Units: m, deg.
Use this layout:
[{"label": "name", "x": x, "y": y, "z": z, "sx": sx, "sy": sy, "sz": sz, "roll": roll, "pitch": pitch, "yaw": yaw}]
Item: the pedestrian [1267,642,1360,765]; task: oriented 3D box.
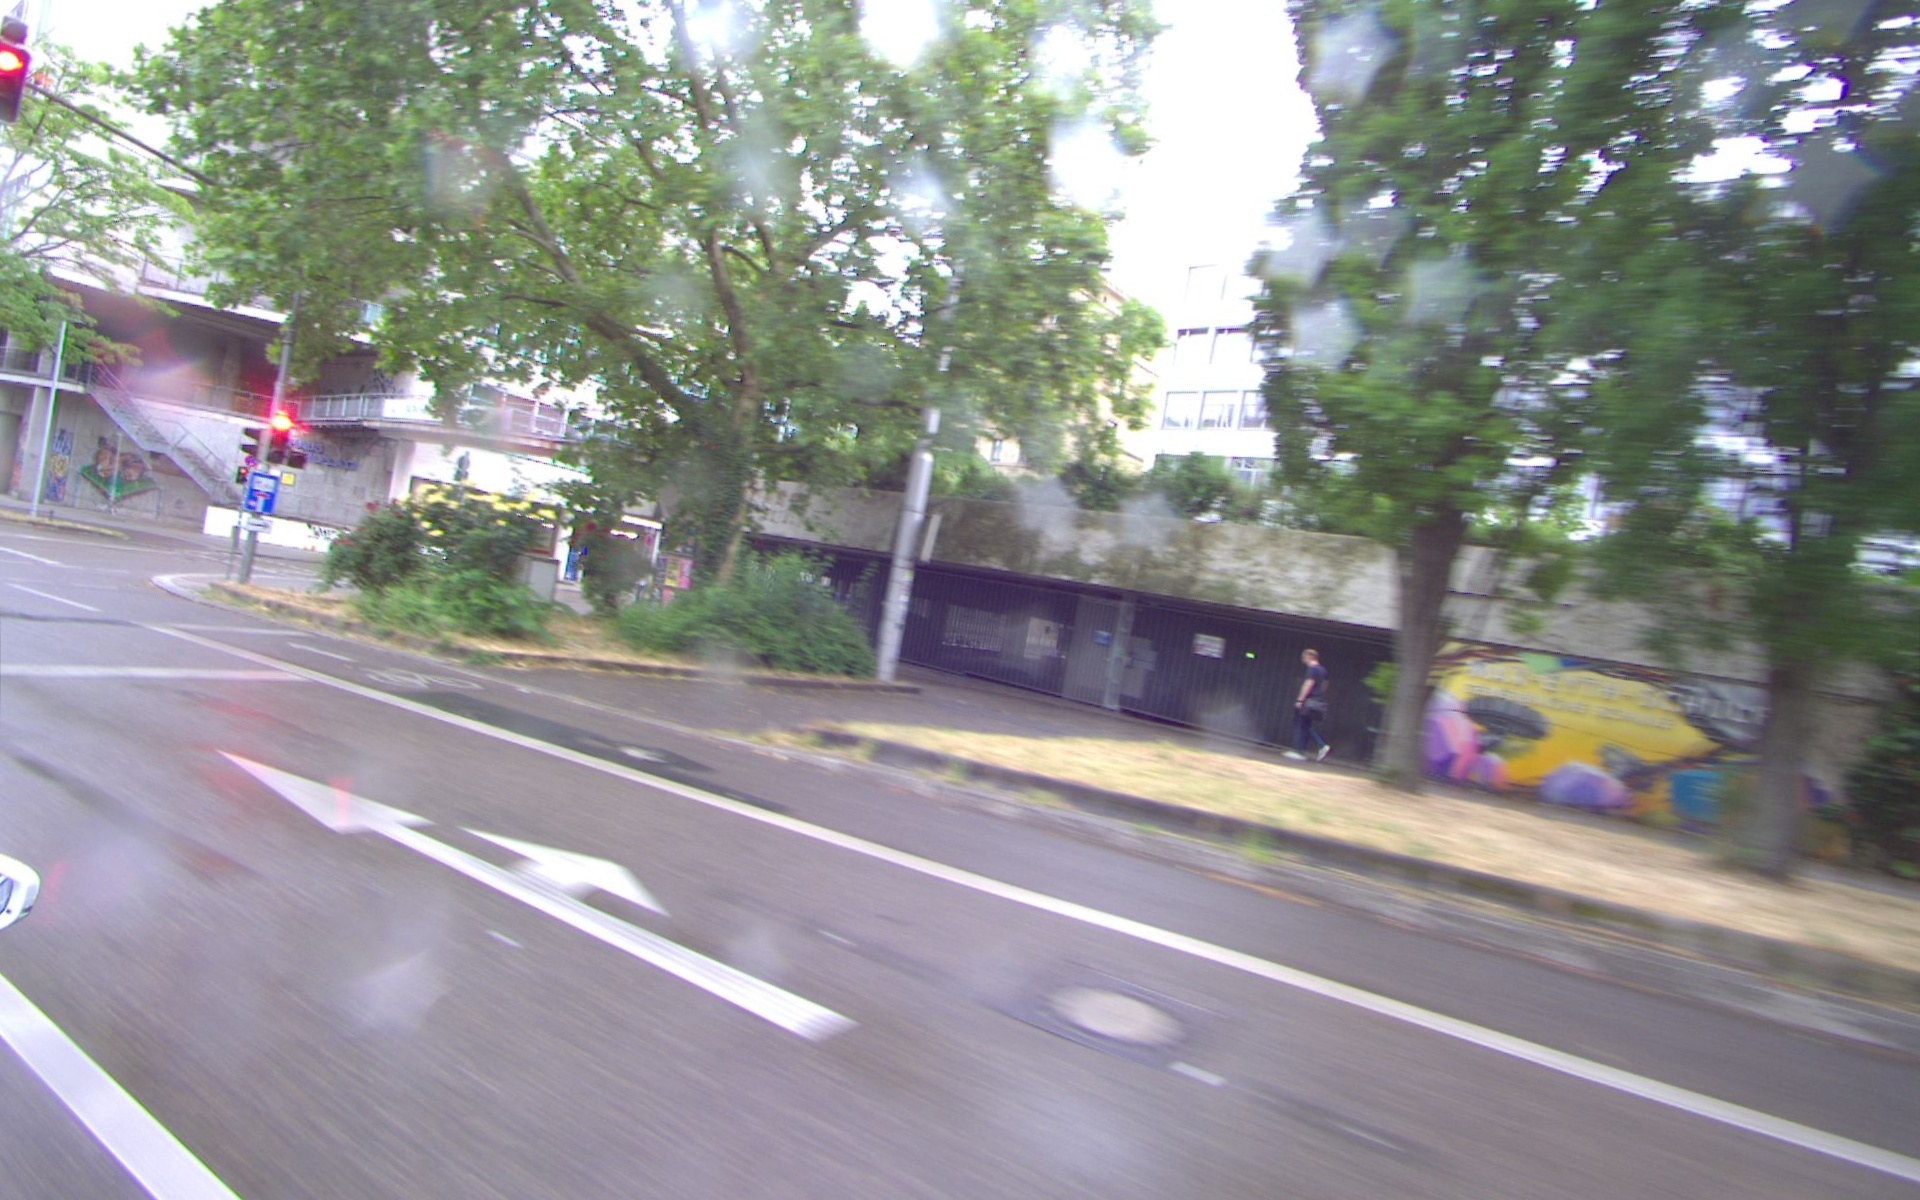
[{"label": "pedestrian", "x": 5.980, "y": 1.734, "z": 17.021, "sx": 1.041, "sy": 1.887, "sz": 0.806, "roll": 8, "pitch": 1, "yaw": 41}]
